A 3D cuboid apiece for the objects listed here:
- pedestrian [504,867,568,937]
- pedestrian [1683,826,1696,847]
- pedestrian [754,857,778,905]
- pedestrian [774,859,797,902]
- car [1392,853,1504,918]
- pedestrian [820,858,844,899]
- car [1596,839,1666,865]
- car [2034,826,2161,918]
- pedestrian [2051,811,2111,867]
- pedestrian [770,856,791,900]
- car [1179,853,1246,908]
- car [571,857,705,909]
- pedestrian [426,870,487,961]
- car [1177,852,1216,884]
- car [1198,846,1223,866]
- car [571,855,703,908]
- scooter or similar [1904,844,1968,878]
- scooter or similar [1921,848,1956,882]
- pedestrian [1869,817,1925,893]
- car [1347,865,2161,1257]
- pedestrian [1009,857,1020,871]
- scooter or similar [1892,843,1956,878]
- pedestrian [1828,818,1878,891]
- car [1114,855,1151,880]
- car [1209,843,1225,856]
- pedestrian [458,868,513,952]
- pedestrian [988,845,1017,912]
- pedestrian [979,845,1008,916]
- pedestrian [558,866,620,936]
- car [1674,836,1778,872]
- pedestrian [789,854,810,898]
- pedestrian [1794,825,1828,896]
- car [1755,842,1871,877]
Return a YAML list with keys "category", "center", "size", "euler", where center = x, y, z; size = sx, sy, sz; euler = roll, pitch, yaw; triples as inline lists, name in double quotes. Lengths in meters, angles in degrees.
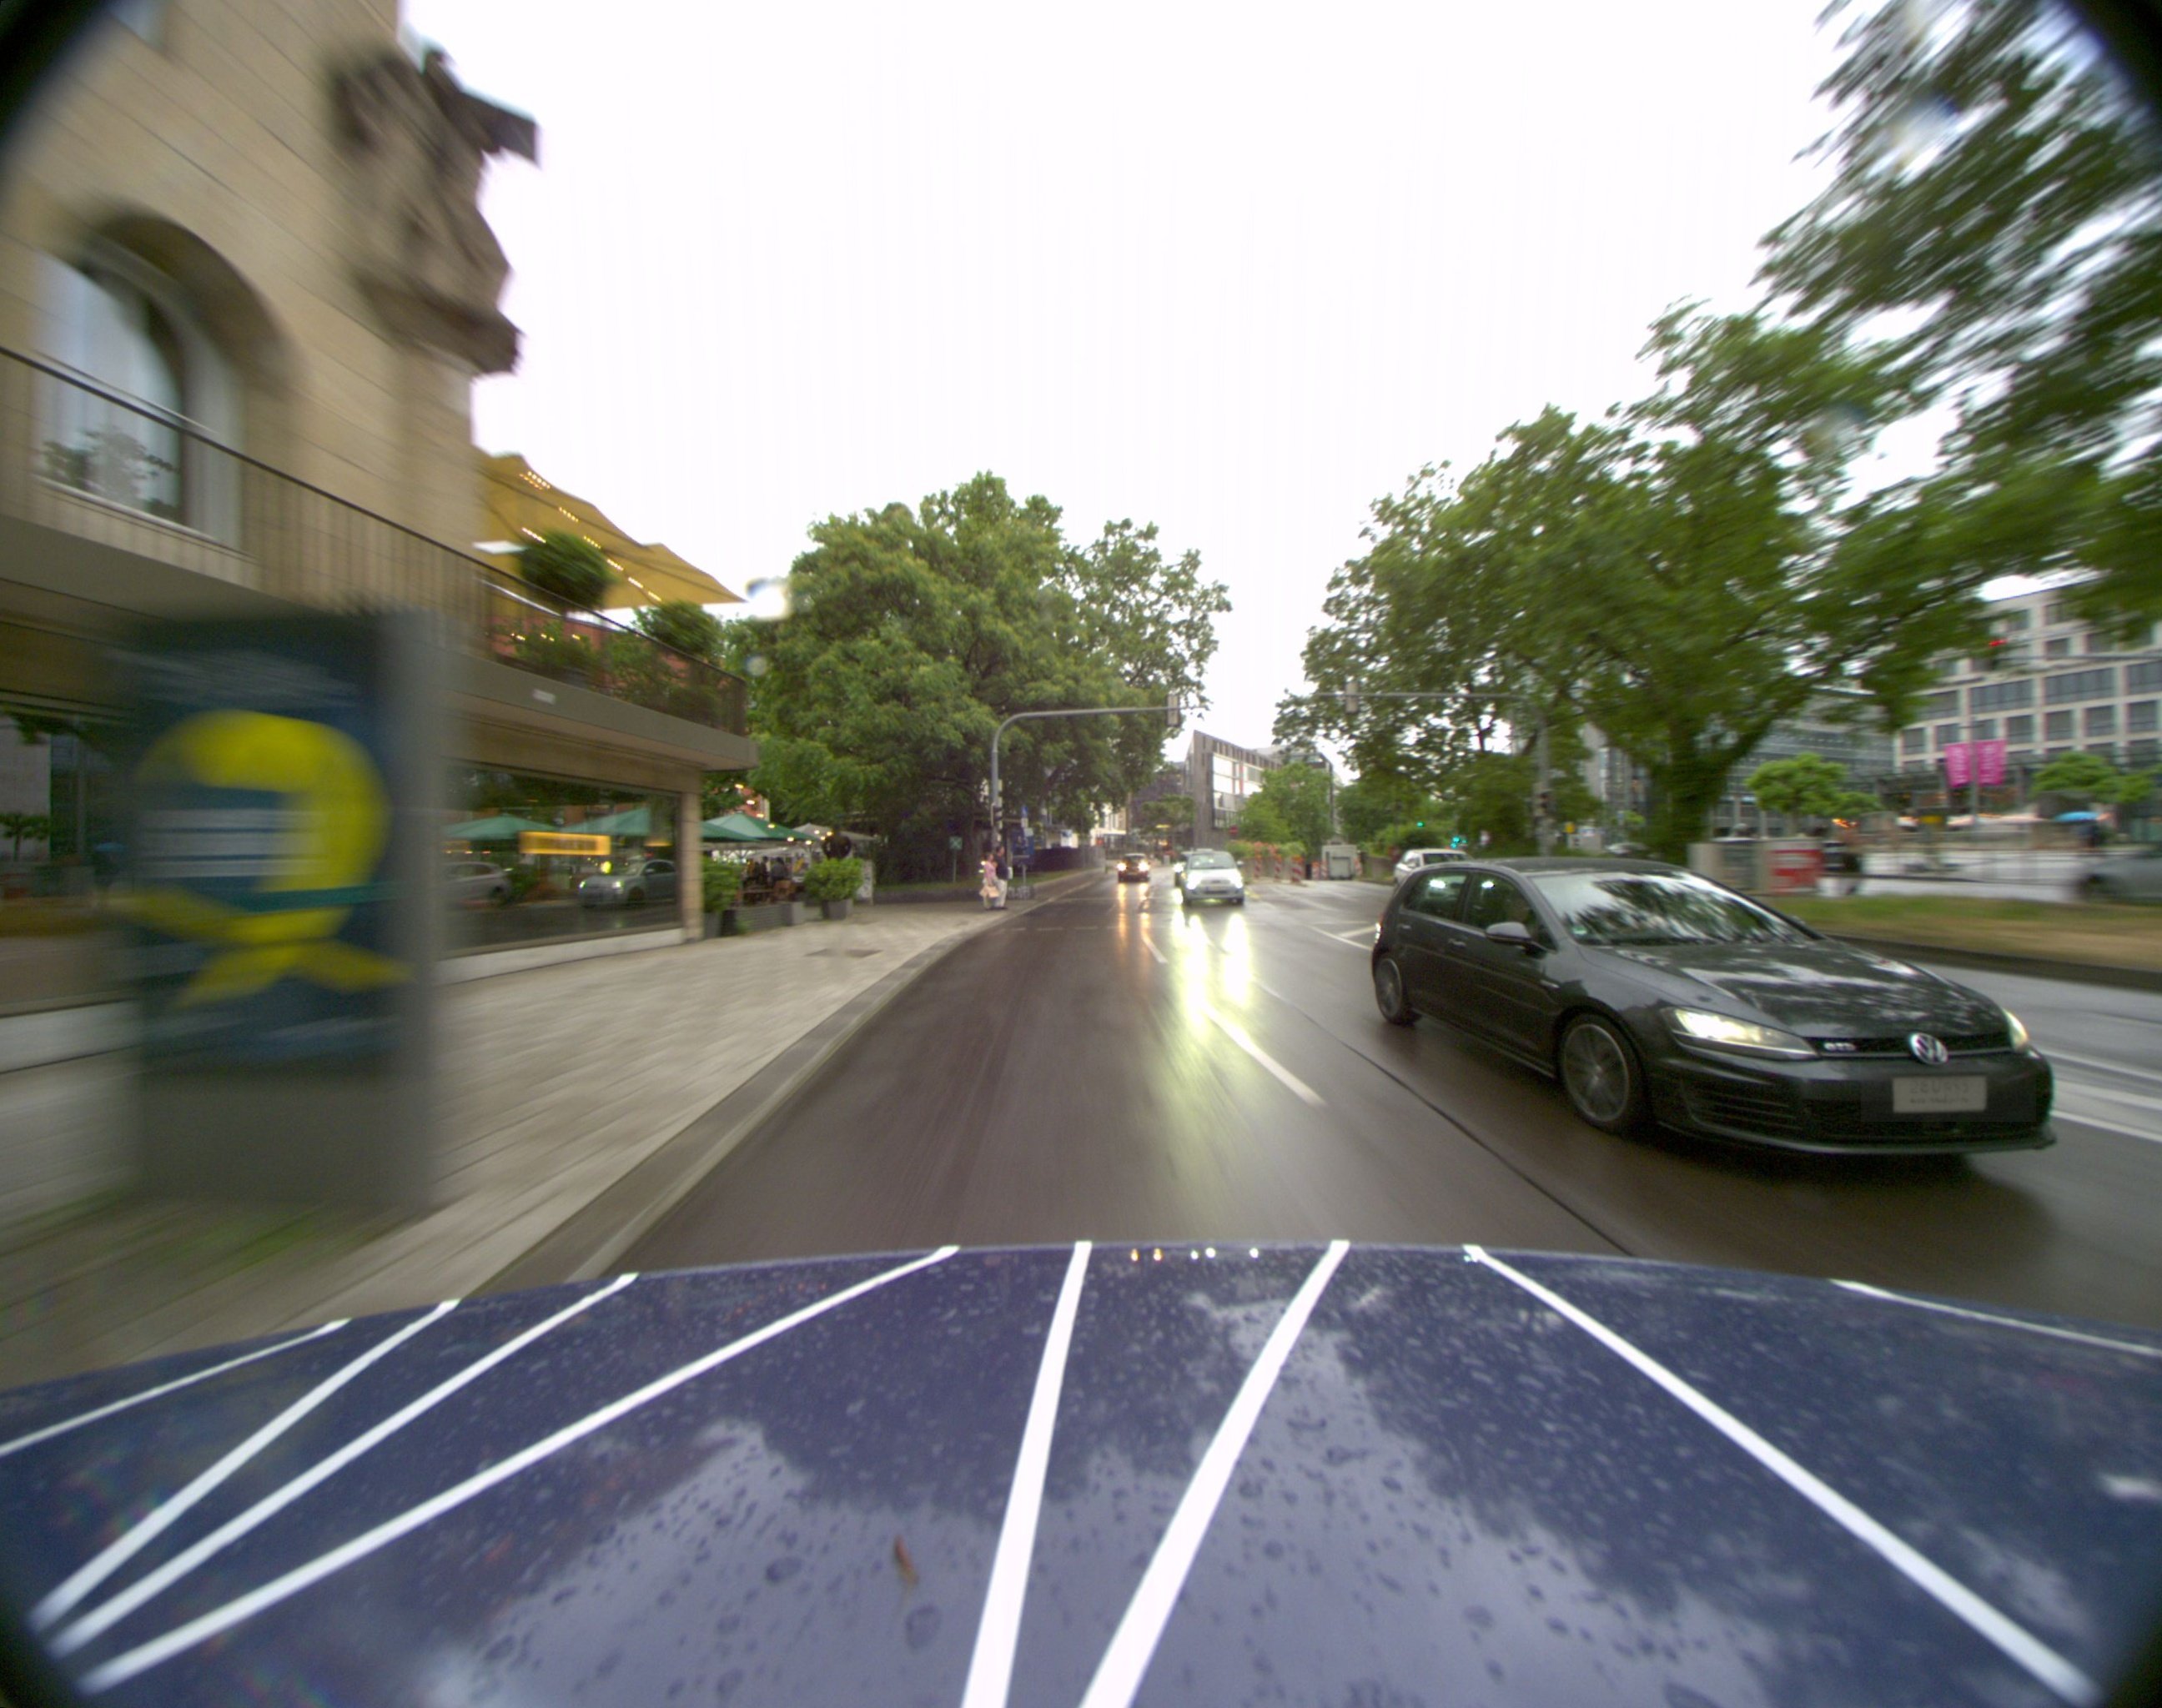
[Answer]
- category: "pedestrian"
  center: [-8.518, 0.734, 11.892]
  size: [0.555, 1.049, 0.545]
  euler: [-2, 0, 8]
- category: "pedestrian"
  center: [46.911, -1.351, 58.611]
  size: [0.563, 1.618, 0.578]
  euler: [-2, 2, -22]
- category: "pedestrian"
  center: [-12.310, 1.051, 29.674]
  size: [0.498, 1.825, 0.643]
  euler: [-2, 1, 43]
- category: "pedestrian"
  center: [-11.768, 1.049, 30.257]
  size: [0.603, 1.671, 0.548]
  euler: [-2, 1, 43]
- category: "car"
  center: [10.233, 0.805, 21.510]
  size: [1.780, 1.587, 4.002]
  euler: [-1, 1, 9]
- category: "pedestrian"
  center: [-10.359, 1.001, 31.614]
  size: [0.570, 1.671, 0.684]
  euler: [-2, 1, 45]
- category: "car"
  center: [35.497, -0.168, 49.217]
  size: [2.009, 1.525, 4.715]
  euler: [-1, 1, 14]
- category: "car"
  center: [16.766, 0.265, 10.800]
  size: [1.750, 1.357, 4.134]
  euler: [-1, 1, 11]
- category: "pedestrian"
  center: [35.123, -0.519, 26.699]
  size: [0.589, 1.913, 1.126]
  euler: [-3, 0, 6]
- category: "pedestrian"
  center: [-11.621, 0.911, 29.368]
  size: [0.498, 1.671, 0.548]
  euler: [-2, 1, 44]
- category: "car"
  center: [3.833, 0.730, 22.617]
  size: [1.611, 1.433, 3.495]
  euler: [-2, 0, 5]
- category: "car"
  center: [-14.251, 0.884, 24.738]
  size: [1.669, 1.490, 4.002]
  euler: [-2, 0, 6]
- category: "pedestrian"
  center: [-7.605, 0.733, 9.263]
  size: [0.329, 1.067, 0.480]
  euler: [-2, 0, -3]
- category: "car"
  center: [5.601, 0.634, 36.670]
  size: [1.715, 1.433, 3.497]
  euler: [0, 0, 11]
- category: "car"
  center: [11.923, 0.209, 70.086]
  size: [1.997, 1.734, 3.912]
  euler: [-1, 0, 7]
- category: "car"
  center: [-14.280, 0.827, 24.719]
  size: [1.670, 1.490, 4.001]
  euler: [-2, 0, 4]
- category: "scooter or similar"
  center: [31.654, 0.249, 28.153]
  size: [1.426, 1.179, 0.582]
  euler: [-3, 0, 28]
- category: "scooter or similar"
  center: [29.918, 0.376, 26.505]
  size: [1.615, 1.119, 0.442]
  euler: [-3, 0, -29]
- category: "pedestrian"
  center: [17.750, 0.014, 16.525]
  size: [0.611, 1.604, 0.640]
  euler: [-2, 0, -24]
- category: "car"
  center: [3.490, 0.854, 5.114]
  size: [1.789, 1.444, 4.122]
  euler: [-2, 0, -2]
- category: "pedestrian"
  center: [-4.380, 0.641, 49.988]
  size: [0.574, 0.867, 0.508]
  euler: [-1, 1, -24]
- category: "scooter or similar"
  center: [30.545, 0.241, 27.547]
  size: [1.427, 1.179, 0.582]
  euler: [-3, 0, 19]
- category: "pedestrian"
  center: [17.360, 0.012, 17.098]
  size: [0.448, 1.604, 0.640]
  euler: [-2, 0, -24]
- category: "car"
  center: [2.843, 0.710, 41.425]
  size: [1.715, 1.274, 3.496]
  euler: [-1, 0, 9]
- category: "car"
  center: [19.438, -0.673, 108.461]
  size: [1.996, 1.734, 3.913]
  euler: [-1, 0, 14]
- category: "pedestrian"
  center: [-7.745, 0.717, 9.879]
  size: [0.543, 1.049, 0.409]
  euler: [-2, 0, 37]
- category: "pedestrian"
  center: [-2.142, 0.663, 20.797]
  size: [0.633, 1.824, 0.563]
  euler: [-1, 1, 10]
- category: "pedestrian"
  center: [-2.319, 0.677, 20.104]
  size: [0.592, 1.824, 0.628]
  euler: [-2, 2, -21]
- category: "pedestrian"
  center: [-7.652, 0.719, 11.827]
  size: [0.555, 1.049, 0.545]
  euler: [-2, 0, 8]
- category: "car"
  center: [31.985, -0.055, 37.894]
  size: [1.996, 1.642, 4.731]
  euler: [-1, 1, 13]
- category: "pedestrian"
  center: [-11.093, 0.860, 29.948]
  size: [0.498, 1.671, 0.548]
  euler: [-2, 1, 44]
- category: "pedestrian"
  center: [16.791, 0.144, 17.477]
  size: [0.556, 1.604, 0.424]
  euler: [-2, 0, -34]
- category: "car"
  center: [31.181, 0.204, 32.545]
  size: [1.844, 1.373, 4.046]
  euler: [-1, 1, 15]
